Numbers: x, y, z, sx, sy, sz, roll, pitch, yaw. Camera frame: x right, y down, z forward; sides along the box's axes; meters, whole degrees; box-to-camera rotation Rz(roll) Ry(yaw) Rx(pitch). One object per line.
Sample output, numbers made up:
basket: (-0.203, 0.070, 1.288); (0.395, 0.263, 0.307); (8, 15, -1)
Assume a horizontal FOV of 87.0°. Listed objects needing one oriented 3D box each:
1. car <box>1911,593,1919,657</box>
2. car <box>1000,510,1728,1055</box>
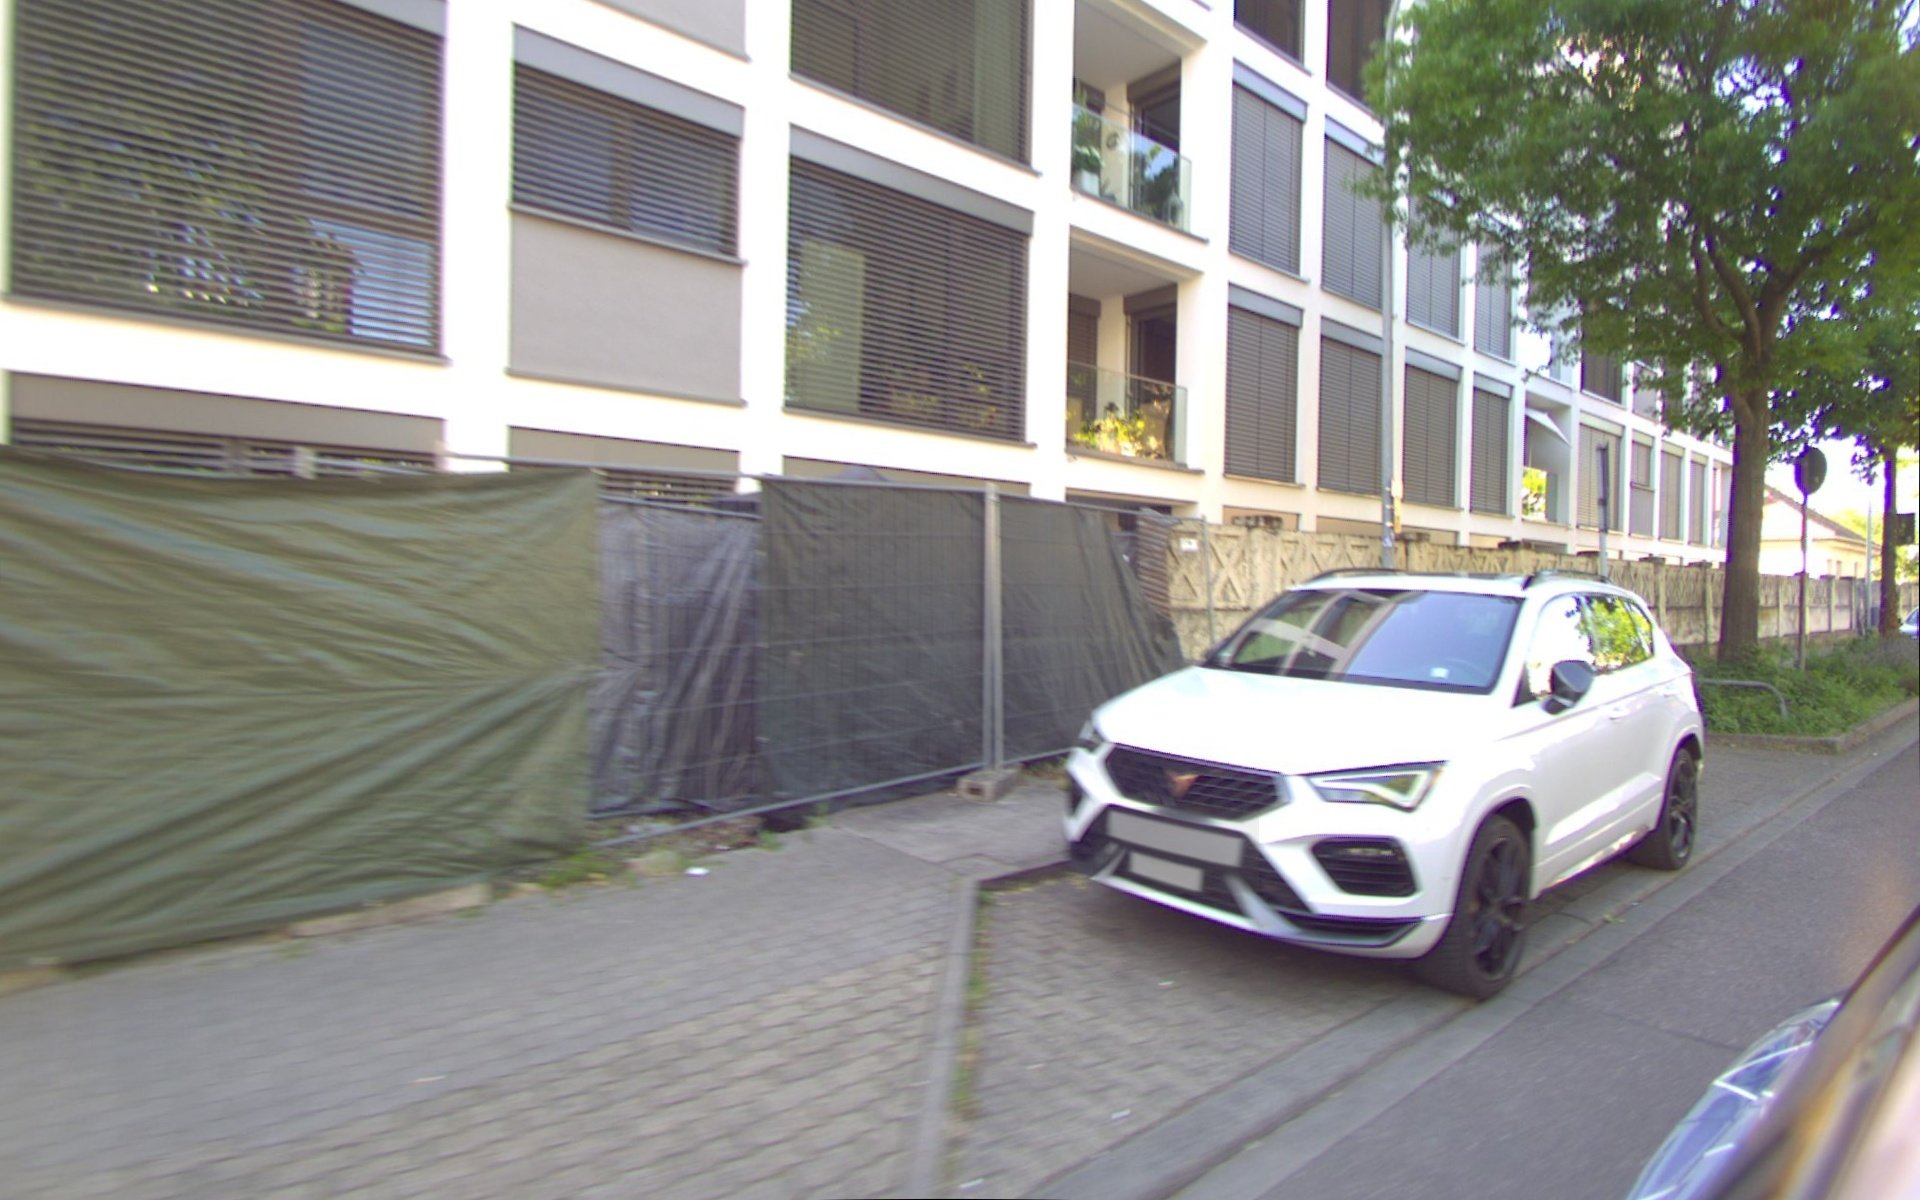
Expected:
car: (23.748, 0.574, 23.617); (4.678, 1.428, 1.723); (0, 1, -40)
car: (2.273, 0.539, 5.081); (4.055, 1.636, 1.795); (0, 0, -42)
